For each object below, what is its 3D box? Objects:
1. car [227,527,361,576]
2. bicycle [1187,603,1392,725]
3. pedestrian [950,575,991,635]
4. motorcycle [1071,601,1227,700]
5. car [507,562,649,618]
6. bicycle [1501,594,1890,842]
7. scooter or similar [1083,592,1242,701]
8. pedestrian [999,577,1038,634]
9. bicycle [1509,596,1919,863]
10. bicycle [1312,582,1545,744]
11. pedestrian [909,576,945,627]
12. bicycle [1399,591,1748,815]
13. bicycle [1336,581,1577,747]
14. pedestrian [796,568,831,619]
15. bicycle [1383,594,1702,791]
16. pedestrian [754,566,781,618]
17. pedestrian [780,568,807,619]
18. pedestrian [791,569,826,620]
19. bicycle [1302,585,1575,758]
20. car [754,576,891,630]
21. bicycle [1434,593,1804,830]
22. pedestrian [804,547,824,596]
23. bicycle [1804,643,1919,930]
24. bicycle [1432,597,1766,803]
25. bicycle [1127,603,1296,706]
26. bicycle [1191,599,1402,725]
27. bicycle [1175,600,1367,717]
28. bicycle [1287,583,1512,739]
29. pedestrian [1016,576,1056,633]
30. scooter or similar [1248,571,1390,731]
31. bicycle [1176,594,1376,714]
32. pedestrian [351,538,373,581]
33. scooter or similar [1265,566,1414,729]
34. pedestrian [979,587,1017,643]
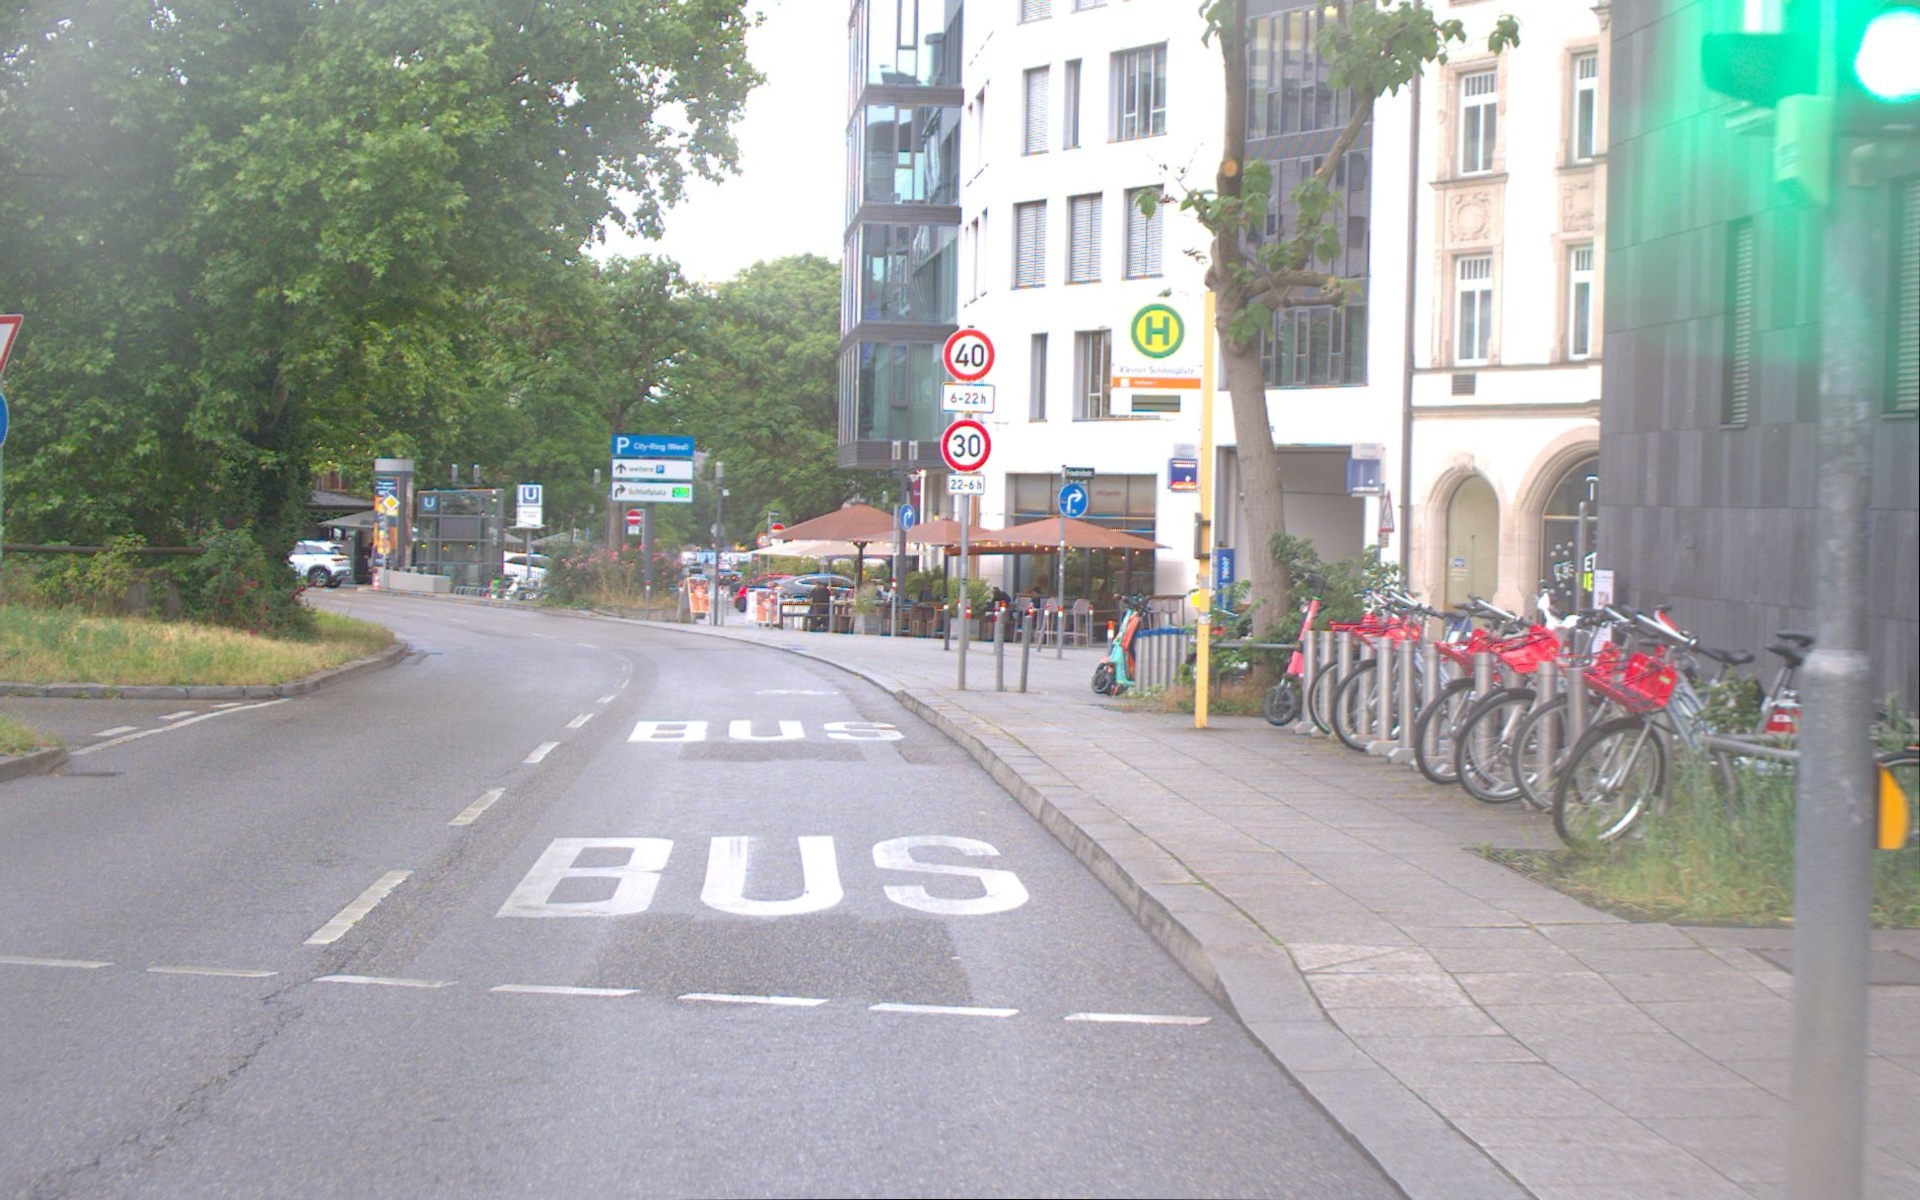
[{"bbox_3d":[-24.226,-1.759,125.159,4.334,1.661,1.952,2,0,16],"label":"car"},{"bbox_3d":[3.099,0.600,32.340,1.794,1.064,0.556,3,-1,-8],"label":"bicycle"},{"bbox_3d":[0.237,0.109,77.918,0.773,1.322,0.636,4,0,-8],"label":"pedestrian"},{"bbox_3d":[2.331,0.627,42.425,1.791,1.136,0.596,3,-1,-9],"label":"motorcycle"},{"bbox_3d":[-13.211,-0.348,119.135,4.734,1.685,2.005,2,1,-4],"label":"car"},{"bbox_3d":[3.616,0.570,16.945,1.729,1.179,0.689,0,1,-10],"label":"bicycle"},{"bbox_3d":[2.451,0.562,41.696,1.791,1.239,0.596,3,-1,-9],"label":"scooter or similar"},{"bbox_3d":[1.412,0.134,83.120,0.626,1.322,0.636,4,0,-28],"label":"pedestrian"},{"bbox_3d":[3.474,0.583,15.810,1.729,1.179,0.689,0,1,-10],"label":"bicycle"},{"bbox_3d":[3.420,0.459,25.145,1.534,1.136,0.689,1,-1,-10],"label":"bicycle"},{"bbox_3d":[-0.909,0.038,93.688,0.817,1.322,0.636,4,0,-8],"label":"pedestrian"},{"bbox_3d":[3.330,0.551,18.713,1.729,1.179,0.689,0,1,-10],"label":"bicycle"},{"bbox_3d":[3.514,0.451,24.367,1.534,1.136,0.689,1,-1,-10],"label":"bicycle"},{"bbox_3d":[-3.960,-0.167,92.728,0.817,1.322,0.636,4,0,-8],"label":"pedestrian"},{"bbox_3d":[3.449,0.542,20.414,1.729,1.136,0.689,0,1,-10],"label":"bicycle"},{"bbox_3d":[-5.093,-0.215,91.024,0.606,1.322,0.568,4,0,-8],"label":"pedestrian"},{"bbox_3d":[-4.414,-0.167,91.101,0.606,1.322,0.568,4,0,-8],"label":"pedestrian"},{"bbox_3d":[-4.130,-0.151,93.715,0.817,1.322,0.636,4,0,-8],"label":"pedestrian"},{"bbox_3d":[3.271,0.488,23.552,1.705,1.136,0.689,1,-1,-10],"label":"bicycle"},{"bbox_3d":[-4.883,0.099,121.917,4.734,1.685,2.005,2,1,-4],"label":"car"},{"bbox_3d":[3.390,0.564,17.736,1.729,1.179,0.689,0,1,-10],"label":"bicycle"},{"bbox_3d":[-5.791,-1.131,136.449,0.624,1.926,0.787,2,0,3],"label":"pedestrian"},{"bbox_3d":[4.281,0.717,13.508,1.729,1.066,0.689,0,1,-10],"label":"bicycle"},{"bbox_3d":[3.636,0.559,19.612,1.729,1.136,0.689,0,1,-10],"label":"bicycle"},{"bbox_3d":[2.899,0.625,39.635,1.794,1.104,0.670,3,-1,-9],"label":"bicycle"},{"bbox_3d":[3.073,0.568,31.467,1.794,1.064,0.556,3,-1,-8],"label":"bicycle"},{"bbox_3d":[3.155,0.595,34.962,1.794,1.104,0.670,3,-1,-9],"label":"bicycle"},{"bbox_3d":[3.312,0.461,25.941,1.534,1.136,0.663,1,-1,-10],"label":"bicycle"},{"bbox_3d":[1.818,0.105,82.233,0.626,1.322,0.636,4,0,-28],"label":"pedestrian"},{"bbox_3d":[2.866,0.408,27.440,1.060,1.253,0.302,1,-1,-10],"label":"scooter or similar"},{"bbox_3d":[3.043,0.521,33.102,1.794,1.064,0.556,3,-1,-8],"label":"bicycle"},{"bbox_3d":[-23.798,-1.603,136.784,0.722,1.696,0.618,1,0,4],"label":"pedestrian"},{"bbox_3d":[2.988,0.374,27.085,1.105,1.253,0.302,1,-1,-10],"label":"scooter or similar"},{"bbox_3d":[0.927,0.370,84.244,0.626,1.322,0.636,4,0,-28],"label":"pedestrian"}]
